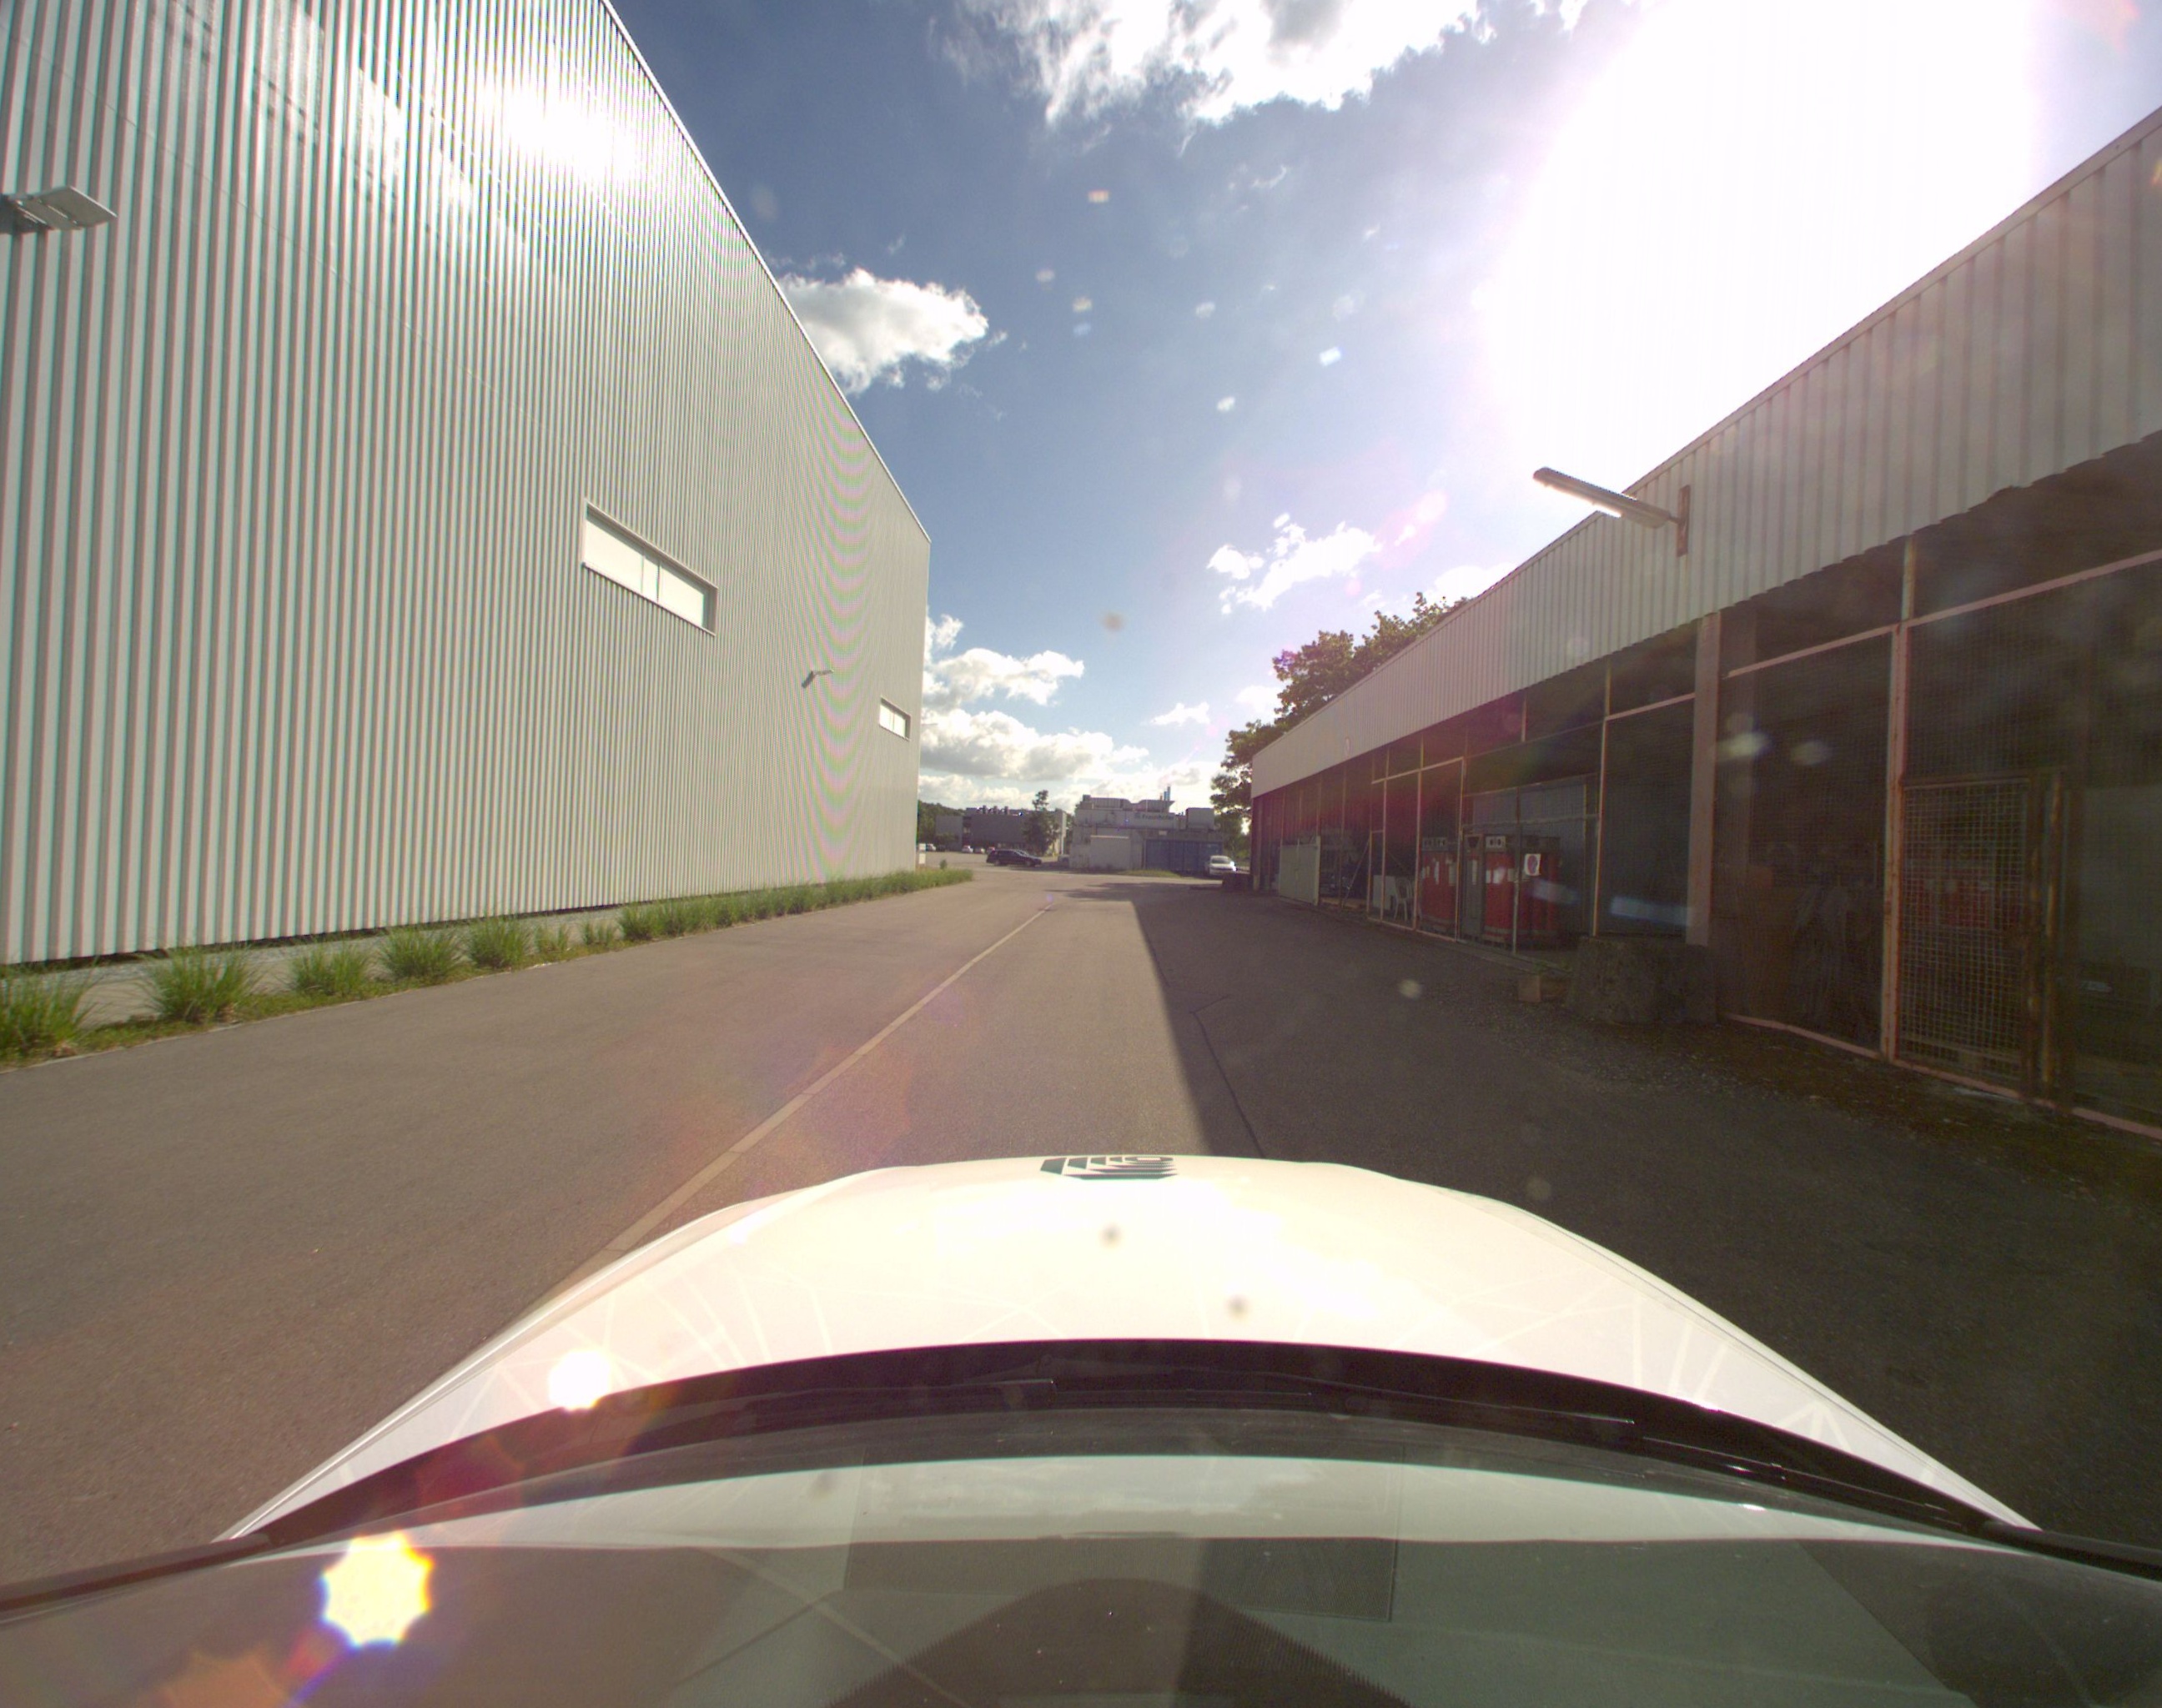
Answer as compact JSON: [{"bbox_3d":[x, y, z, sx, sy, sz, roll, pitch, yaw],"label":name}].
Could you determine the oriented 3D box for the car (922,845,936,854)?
[{"bbox_3d":[-31.579,-0.909,169.564,1.986,1.736,4.001,0,0,2],"label":"car"}]

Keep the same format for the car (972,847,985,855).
[{"bbox_3d":[-21.281,-0.640,169.382,1.986,1.736,4.001,0,0,2],"label":"car"}]

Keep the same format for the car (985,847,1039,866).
[{"bbox_3d":[-6.073,0.209,72.107,4.506,1.508,1.911,1,0,4],"label":"car"}]

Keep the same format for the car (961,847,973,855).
[{"bbox_3d":[-23.754,-0.651,169.800,1.986,1.736,4.001,0,0,2],"label":"car"}]

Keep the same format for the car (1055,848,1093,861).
[{"bbox_3d":[-0.802,0.042,99.589,4.507,1.508,1.910,2,0,3],"label":"car"}]

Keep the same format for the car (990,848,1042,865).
[{"bbox_3d":[-5.973,0.224,75.345,4.506,1.508,1.911,1,0,4],"label":"car"}]

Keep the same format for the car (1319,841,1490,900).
[{"bbox_3d":[11.267,0.570,28.565,5.226,1.876,1.997,1,0,-4],"label":"car"}]

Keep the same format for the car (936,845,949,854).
[{"bbox_3d":[-28.786,-0.895,169.436,1.986,1.736,4.001,0,0,2],"label":"car"}]

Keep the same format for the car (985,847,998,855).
[{"bbox_3d":[-18.691,-0.657,169.658,2.185,1.736,4.001,0,0,2],"label":"car"}]

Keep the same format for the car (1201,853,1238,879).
[{"bbox_3d":[9.974,0.832,58.913,1.986,1.585,4.175,2,2,2],"label":"car"}]

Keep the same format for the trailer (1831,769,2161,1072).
[{"bbox_3d":[8.276,0.465,5.961,1.849,2.058,4.100,1,0,1],"label":"trailer"}]
